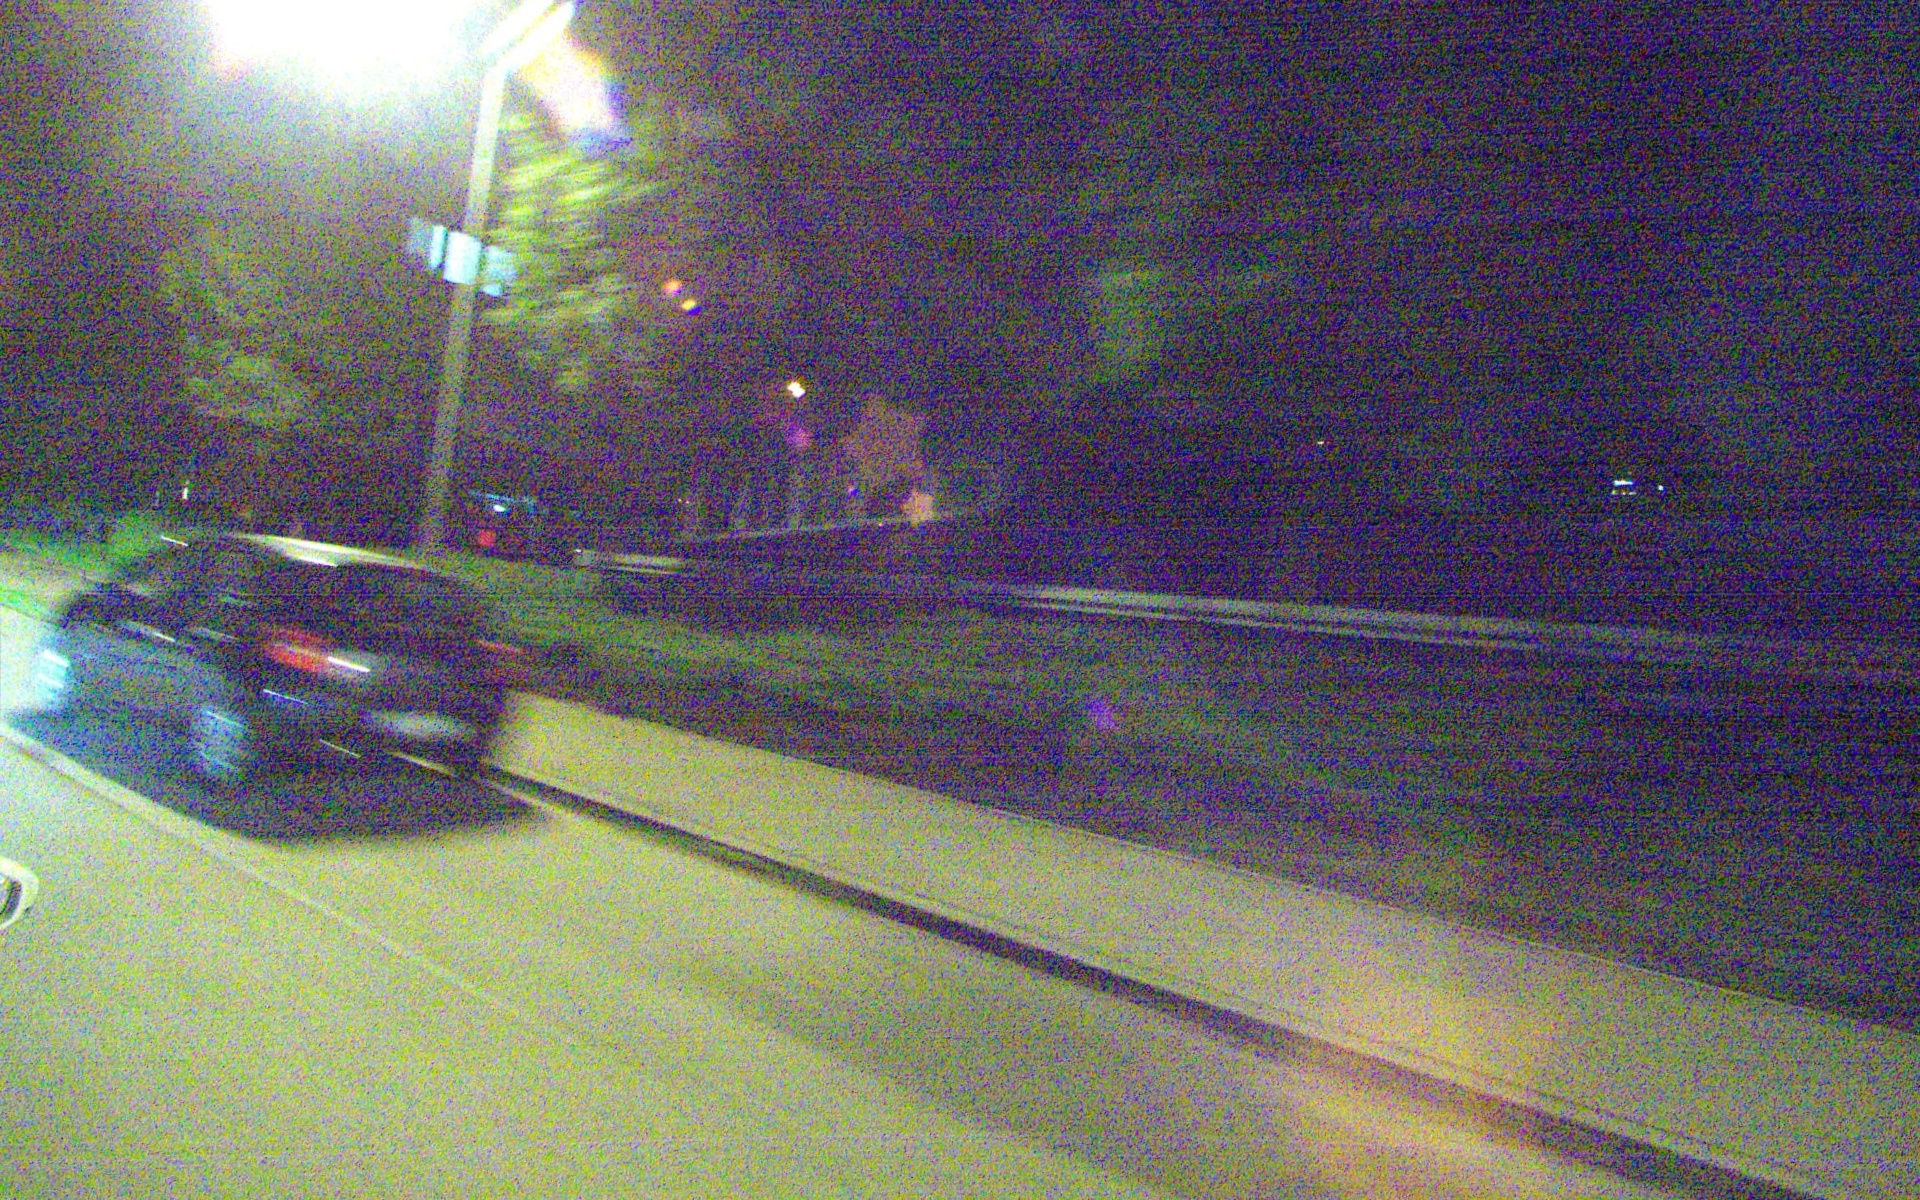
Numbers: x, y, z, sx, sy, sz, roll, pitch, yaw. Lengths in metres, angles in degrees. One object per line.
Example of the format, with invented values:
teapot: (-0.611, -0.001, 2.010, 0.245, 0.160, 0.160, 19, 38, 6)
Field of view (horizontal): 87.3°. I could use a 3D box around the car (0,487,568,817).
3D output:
car: (-4.846, 0.245, 7.020, 3.932, 1.525, 1.714, 7, -1, 30)
